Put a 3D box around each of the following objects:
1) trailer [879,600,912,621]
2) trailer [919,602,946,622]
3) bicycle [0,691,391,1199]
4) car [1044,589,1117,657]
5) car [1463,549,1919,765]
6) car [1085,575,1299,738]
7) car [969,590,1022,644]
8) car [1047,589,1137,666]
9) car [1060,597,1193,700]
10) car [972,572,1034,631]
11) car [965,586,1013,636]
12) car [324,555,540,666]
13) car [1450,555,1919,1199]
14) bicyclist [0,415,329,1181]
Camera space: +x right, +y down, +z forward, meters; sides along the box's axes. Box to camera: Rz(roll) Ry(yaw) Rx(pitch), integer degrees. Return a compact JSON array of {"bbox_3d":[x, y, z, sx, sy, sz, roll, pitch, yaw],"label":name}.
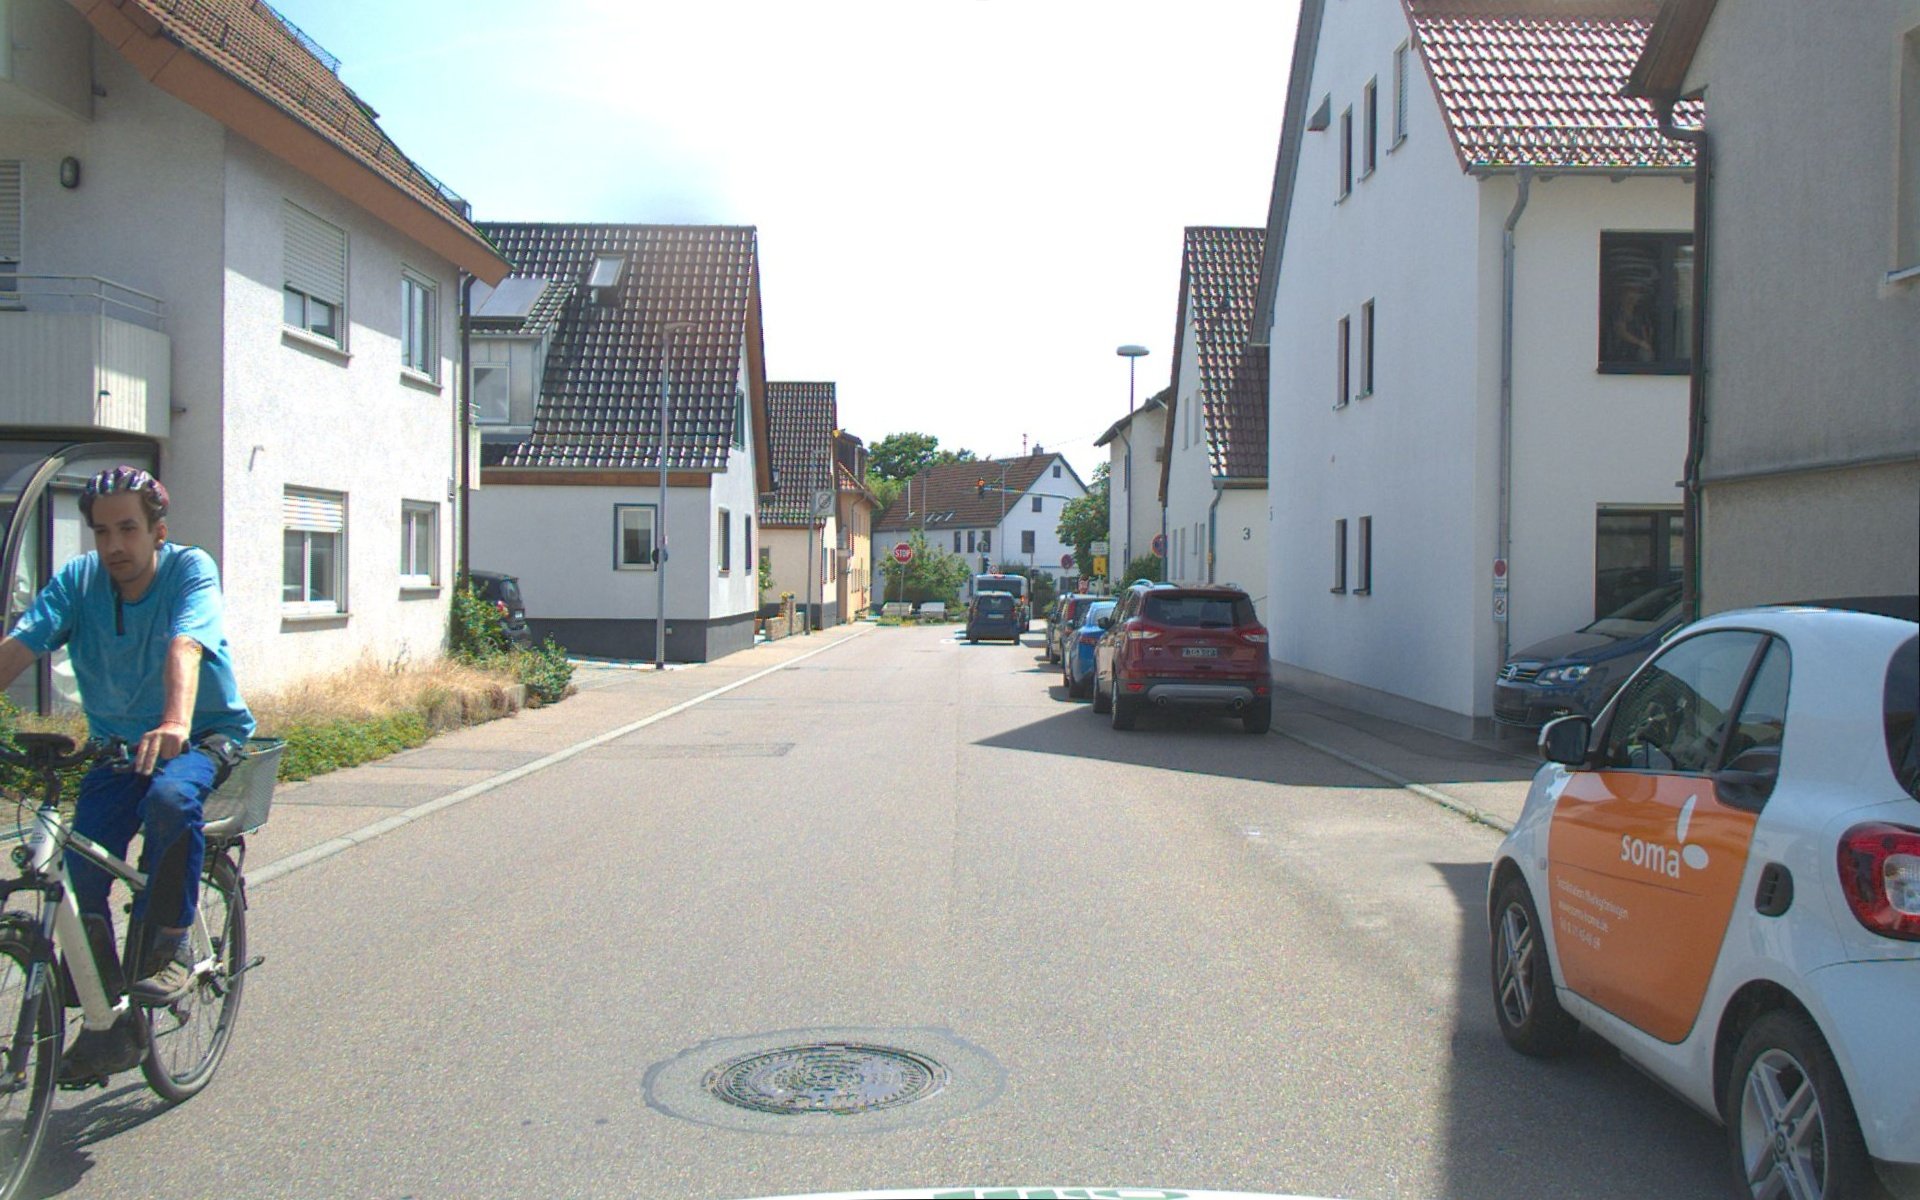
[{"bbox_3d":[-3.152,0.524,80.911,1.471,0.943,1.012,3,0,1],"label":"trailer"},{"bbox_3d":[-1.328,0.589,80.650,1.283,0.987,0.933,0,0,1],"label":"trailer"},{"bbox_3d":[-2.205,0.885,4.397,0.656,1.152,2.189,0,0,-1],"label":"bicycle"},{"bbox_3d":[2.892,0.530,40.197,1.468,1.539,3.361,1,0,-1],"label":"car"},{"bbox_3d":[7.368,0.520,15.879,4.425,1.875,1.999,1,0,-3],"label":"car"},{"bbox_3d":[2.687,0.598,20.101,1.838,1.730,4.181,1,0,-2],"label":"car"},{"bbox_3d":[1.107,0.508,51.040,1.484,1.594,3.185,1,0,3],"label":"car"},{"bbox_3d":[2.825,0.556,35.987,1.536,1.572,3.448,1,0,-2],"label":"car"},{"bbox_3d":[2.546,0.692,26.173,1.727,1.448,4.592,1,0,1],"label":"car"},{"bbox_3d":[1.742,0.042,65.278,2.084,2.196,4.739,1,0,6],"label":"car"},{"bbox_3d":[0.994,0.355,56.018,1.484,1.653,3.185,0,0,3],"label":"car"},{"bbox_3d":[-8.966,0.175,28.275,3.048,1.604,1.714,4,0,-2],"label":"car"},{"bbox_3d":[2.736,0.712,4.856,1.639,1.586,3.040,1,0,-1],"label":"car"},{"bbox_3d":[-2.224,0.471,4.427,0.699,1.830,0.941,1,0,-2],"label":"bicyclist"}]
